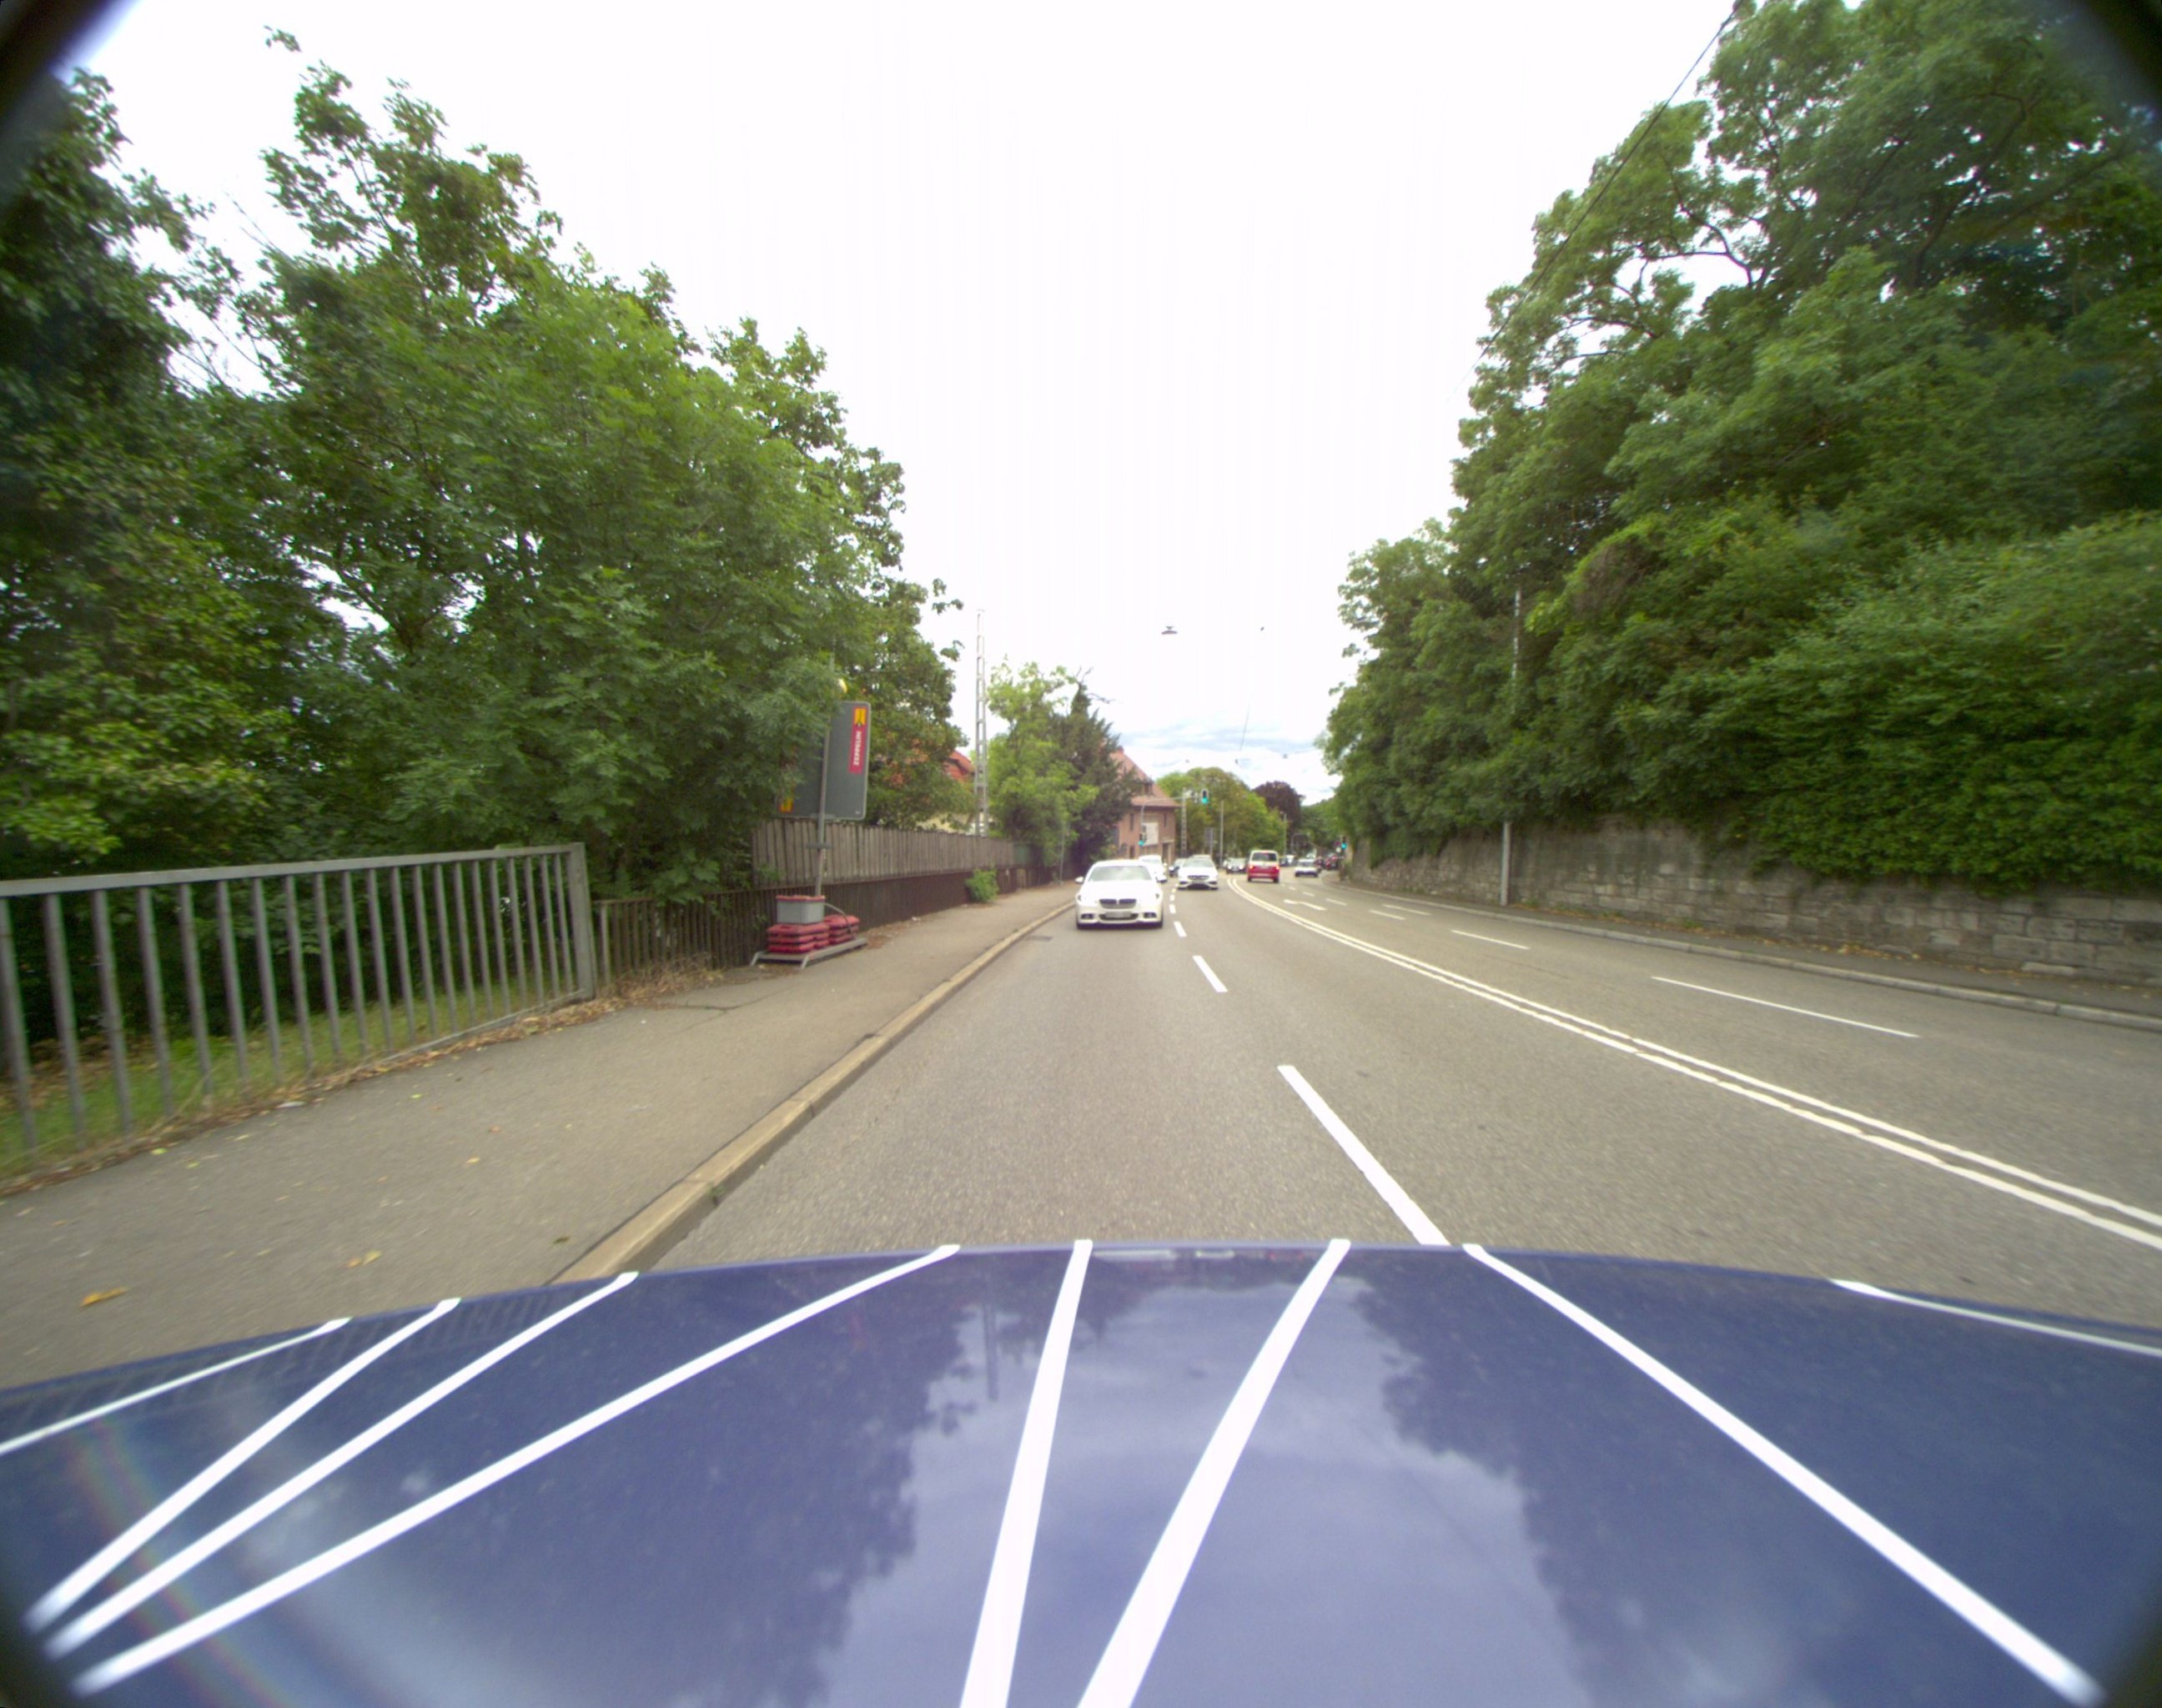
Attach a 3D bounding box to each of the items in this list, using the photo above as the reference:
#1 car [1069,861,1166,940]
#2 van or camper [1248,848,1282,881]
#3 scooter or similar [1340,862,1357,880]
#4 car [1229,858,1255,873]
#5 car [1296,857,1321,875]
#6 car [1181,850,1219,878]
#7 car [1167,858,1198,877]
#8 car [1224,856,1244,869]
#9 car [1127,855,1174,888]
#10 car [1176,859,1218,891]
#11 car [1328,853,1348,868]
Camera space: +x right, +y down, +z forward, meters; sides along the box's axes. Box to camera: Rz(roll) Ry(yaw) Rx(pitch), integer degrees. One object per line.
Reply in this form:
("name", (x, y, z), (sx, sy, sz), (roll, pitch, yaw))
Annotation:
("car", (0.964, 0.932, 17.038), (1.822, 1.462, 4.787), (-2, -1, 6))
("van or camper", (11.480, 0.613, 47.684), (1.892, 1.867, 4.769), (1, 1, 12))
("scooter or similar", (18.732, 1.188, 53.153), (1.099, 1.230, 0.433), (-3, 0, -28))
("car", (14.773, 1.027, 69.646), (1.832, 1.206, 4.006), (1, 0, 18))
("car", (19.707, 0.995, 65.757), (1.784, 1.458, 4.107), (3, 1, 19))
("car", (7.954, 0.628, 50.529), (1.955, 1.730, 4.005), (1, 0, 16))
("car", (7.860, 1.032, 58.564), (1.996, 1.396, 4.004), (0, 0, 14))
("car", (19.677, 1.074, 97.728), (1.676, 1.453, 4.373), (3, 1, 23))
("car", (4.060, 0.955, 43.958), (1.955, 1.761, 4.005), (1, 0, 16))
("car", (5.368, 0.927, 34.968), (1.801, 1.382, 3.530), (1, 0, 10))
("car", (33.806, 0.836, 99.944), (1.744, 1.835, 4.257), (2, 1, 28))
